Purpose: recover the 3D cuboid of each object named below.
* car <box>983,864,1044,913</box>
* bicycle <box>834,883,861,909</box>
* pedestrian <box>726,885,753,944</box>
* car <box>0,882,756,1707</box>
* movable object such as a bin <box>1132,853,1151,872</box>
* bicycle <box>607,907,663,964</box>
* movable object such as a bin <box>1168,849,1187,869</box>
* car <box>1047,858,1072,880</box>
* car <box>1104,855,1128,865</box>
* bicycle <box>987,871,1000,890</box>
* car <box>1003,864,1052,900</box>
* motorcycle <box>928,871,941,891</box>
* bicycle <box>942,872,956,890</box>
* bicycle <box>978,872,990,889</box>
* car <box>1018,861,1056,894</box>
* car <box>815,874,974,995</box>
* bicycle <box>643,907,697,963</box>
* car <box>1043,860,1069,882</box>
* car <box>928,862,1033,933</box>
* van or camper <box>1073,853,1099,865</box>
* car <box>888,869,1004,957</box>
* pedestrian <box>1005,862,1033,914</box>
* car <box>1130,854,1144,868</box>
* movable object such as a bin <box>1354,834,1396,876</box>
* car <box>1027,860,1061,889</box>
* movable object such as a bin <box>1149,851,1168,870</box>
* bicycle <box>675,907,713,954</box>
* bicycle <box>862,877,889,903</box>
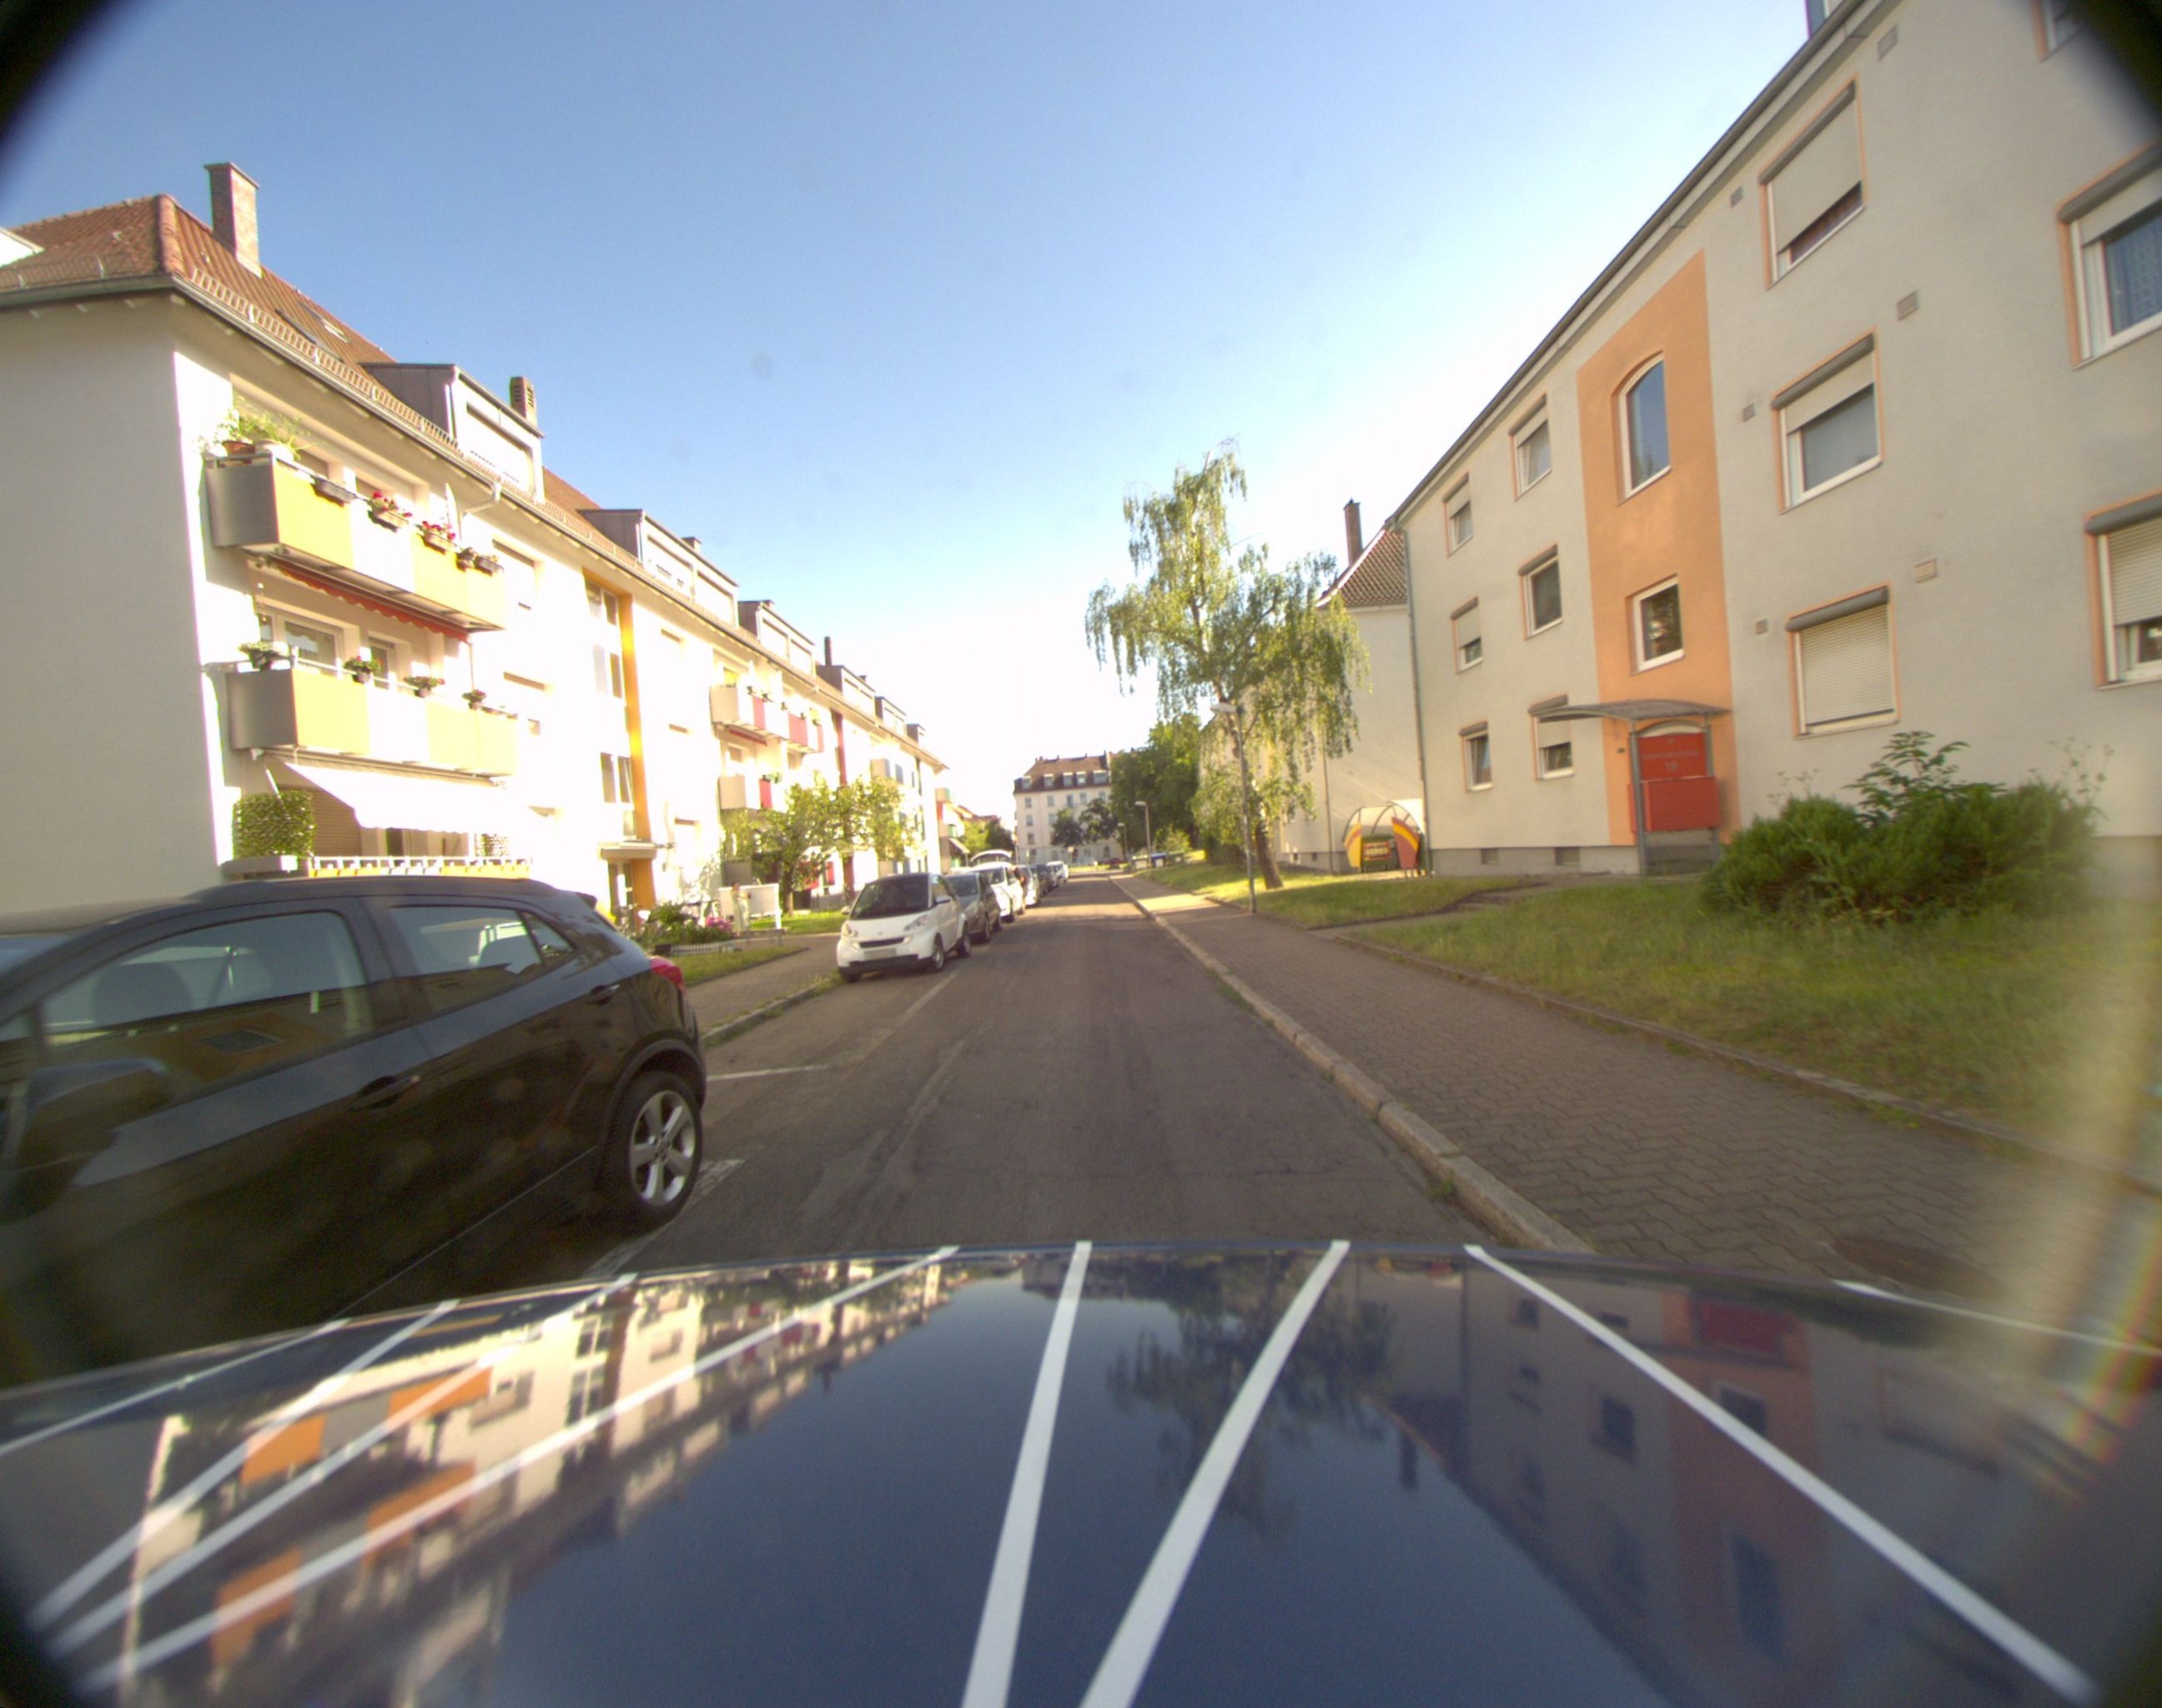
[{"bbox_3d":[-2.377,1.184,27.842,1.776,1.496,4.480,-4,0,-1],"label":"car"},{"bbox_3d":[-10.529,1.891,34.334,0.521,1.031,1.975,-2,0,1],"label":"bicycle"},{"bbox_3d":[-8.942,1.577,19.891,0.451,1.486,0.360,-3,2,2],"label":"pedestrian"},{"bbox_3d":[-2.866,1.041,2.069,1.787,1.638,4.469,-5,0,2],"label":"car"},{"bbox_3d":[5.143,0.745,64.666,1.318,1.451,1.198,-7,0,1],"label":"movable object such as a bin"},{"bbox_3d":[-9.872,1.785,16.864,0.404,1.126,1.273,-3,0,2],"label":"bicycle"},{"bbox_3d":[8.213,0.426,64.719,1.363,1.445,1.073,-8,0,1],"label":"movable object such as a bin"},{"bbox_3d":[-1.756,1.232,63.394,1.805,1.583,4.581,-5,0,0],"label":"car"},{"bbox_3d":[6.029,0.987,129.974,3.996,1.477,1.722,-3,0,3],"label":"car"},{"bbox_3d":[-5.870,1.778,50.811,0.546,1.163,1.873,-2,0,2],"label":"bicycle"},{"bbox_3d":[-2.476,1.277,36.064,1.650,1.441,4.061,-5,0,3],"label":"car"},{"bbox_3d":[-9.969,1.828,51.856,0.442,1.231,1.977,-2,0,1],"label":"motorcycle"},{"bbox_3d":[-8.971,1.838,51.664,0.598,1.109,1.873,-3,0,0],"label":"bicycle"},{"bbox_3d":[-6.571,1.792,51.567,0.579,1.126,1.873,-2,0,0],"label":"bicycle"},{"bbox_3d":[-2.314,1.215,40.712,1.728,1.569,4.353,-3,0,0],"label":"car"},{"bbox_3d":[-2.854,1.184,12.248,1.483,1.520,2.942,-6,0,5],"label":"car"},{"bbox_3d":[-8.974,1.749,16.632,0.404,1.080,1.299,-2,0,2],"label":"bicycle"},{"bbox_3d":[-1.852,1.253,58.081,1.695,1.410,4.098,-6,0,0],"label":"car"},{"bbox_3d":[-2.719,1.128,21.843,1.998,1.603,4.996,-5,0,3],"label":"car"},{"bbox_3d":[0.861,0.914,130.302,4.355,1.852,2.000,-3,0,-1],"label":"van or camper"},{"bbox_3d":[-2.782,1.170,16.518,1.698,1.482,3.984,-5,0,0],"label":"car"},{"bbox_3d":[-1.929,1.060,23.873,0.741,1.566,0.880,-2,0,1],"label":"pedestrian"},{"bbox_3d":[7.202,0.920,97.695,1.678,1.645,3.305,-3,0,5],"label":"car"},{"bbox_3d":[10.333,0.031,26.725,1.087,1.397,0.813,-4,0,1],"label":"movable object such as a bin"},{"bbox_3d":[-2.185,1.212,46.014,1.717,1.500,3.853,-6,0,0],"label":"car"},{"bbox_3d":[6.626,0.584,64.715,1.358,1.451,1.082,-8,0,1],"label":"movable object such as a bin"},{"bbox_3d":[-8.933,1.771,17.541,0.742,1.041,0.239,-2,0,3],"label":"bicycle"},{"bbox_3d":[-9.219,1.610,34.184,0.521,1.042,2.288,-1,0,1],"label":"bicycle"}]
